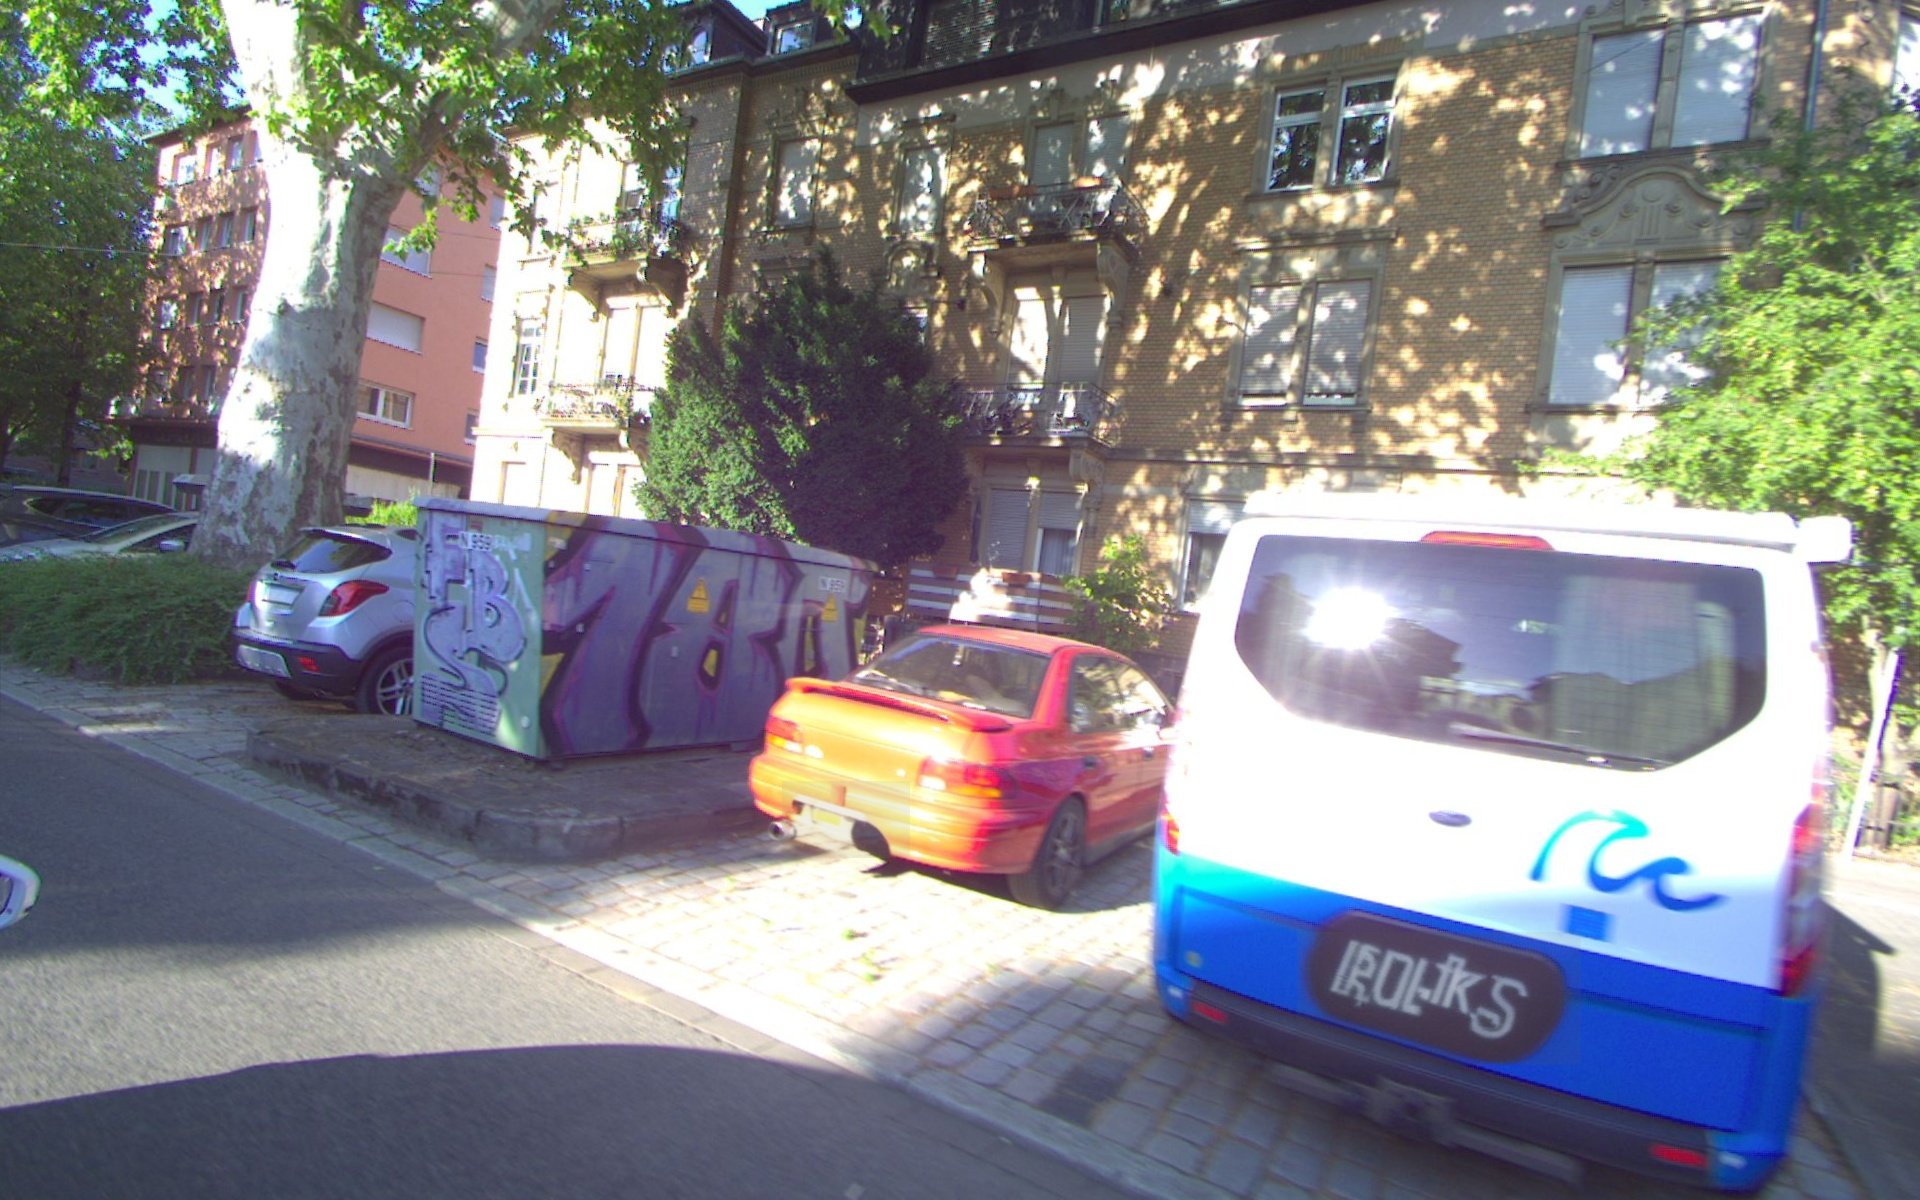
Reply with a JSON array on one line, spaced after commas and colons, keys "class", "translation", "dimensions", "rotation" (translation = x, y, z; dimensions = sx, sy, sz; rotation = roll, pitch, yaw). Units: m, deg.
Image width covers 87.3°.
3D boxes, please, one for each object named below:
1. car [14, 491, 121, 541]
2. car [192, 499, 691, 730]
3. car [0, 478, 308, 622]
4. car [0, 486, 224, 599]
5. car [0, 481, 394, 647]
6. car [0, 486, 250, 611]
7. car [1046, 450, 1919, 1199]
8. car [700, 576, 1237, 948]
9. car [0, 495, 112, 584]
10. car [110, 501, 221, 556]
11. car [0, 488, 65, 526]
[{"class": "car", "translation": [-38.303, -3.605, 43.147], "dimensions": [4.497, 1.594, 1.793], "rotation": [7, 0, 26]}, {"class": "car", "translation": [-4.647, 0.153, 9.586], "dimensions": [1.760, 1.639, 3.786], "rotation": [7, 1, 29]}, {"class": "car", "translation": [-12.222, -0.707, 14.548], "dimensions": [1.846, 1.638, 4.208], "rotation": [7, 0, 29]}, {"class": "car", "translation": [-15.754, -1.063, 17.595], "dimensions": [1.788, 1.574, 4.203], "rotation": [7, 0, 34]}, {"class": "car", "translation": [-10.074, -0.395, 13.166], "dimensions": [1.788, 1.638, 4.203], "rotation": [7, 0, 34]}, {"class": "car", "translation": [-14.115, -0.860, 15.969], "dimensions": [1.788, 1.593, 4.203], "rotation": [7, 0, 34]}, {"class": "car", "translation": [2.466, 0.751, 4.895], "dimensions": [2.156, 2.039, 4.852], "rotation": [7, 1, 28]}, {"class": "car", "translation": [0.372, 0.800, 6.557], "dimensions": [1.760, 1.507, 3.786], "rotation": [7, 1, 29]}, {"class": "car", "translation": [-18.285, -1.278, 18.109], "dimensions": [1.787, 1.465, 4.206], "rotation": [7, -1, 31]}, {"class": "car", "translation": [-27.763, -2.500, 35.140], "dimensions": [3.885, 1.452, 1.750], "rotation": [7, 0, 32]}, {"class": "car", "translation": [-45.016, -4.528, 47.595], "dimensions": [1.655, 1.470, 3.543], "rotation": [7, 0, 29]}]
